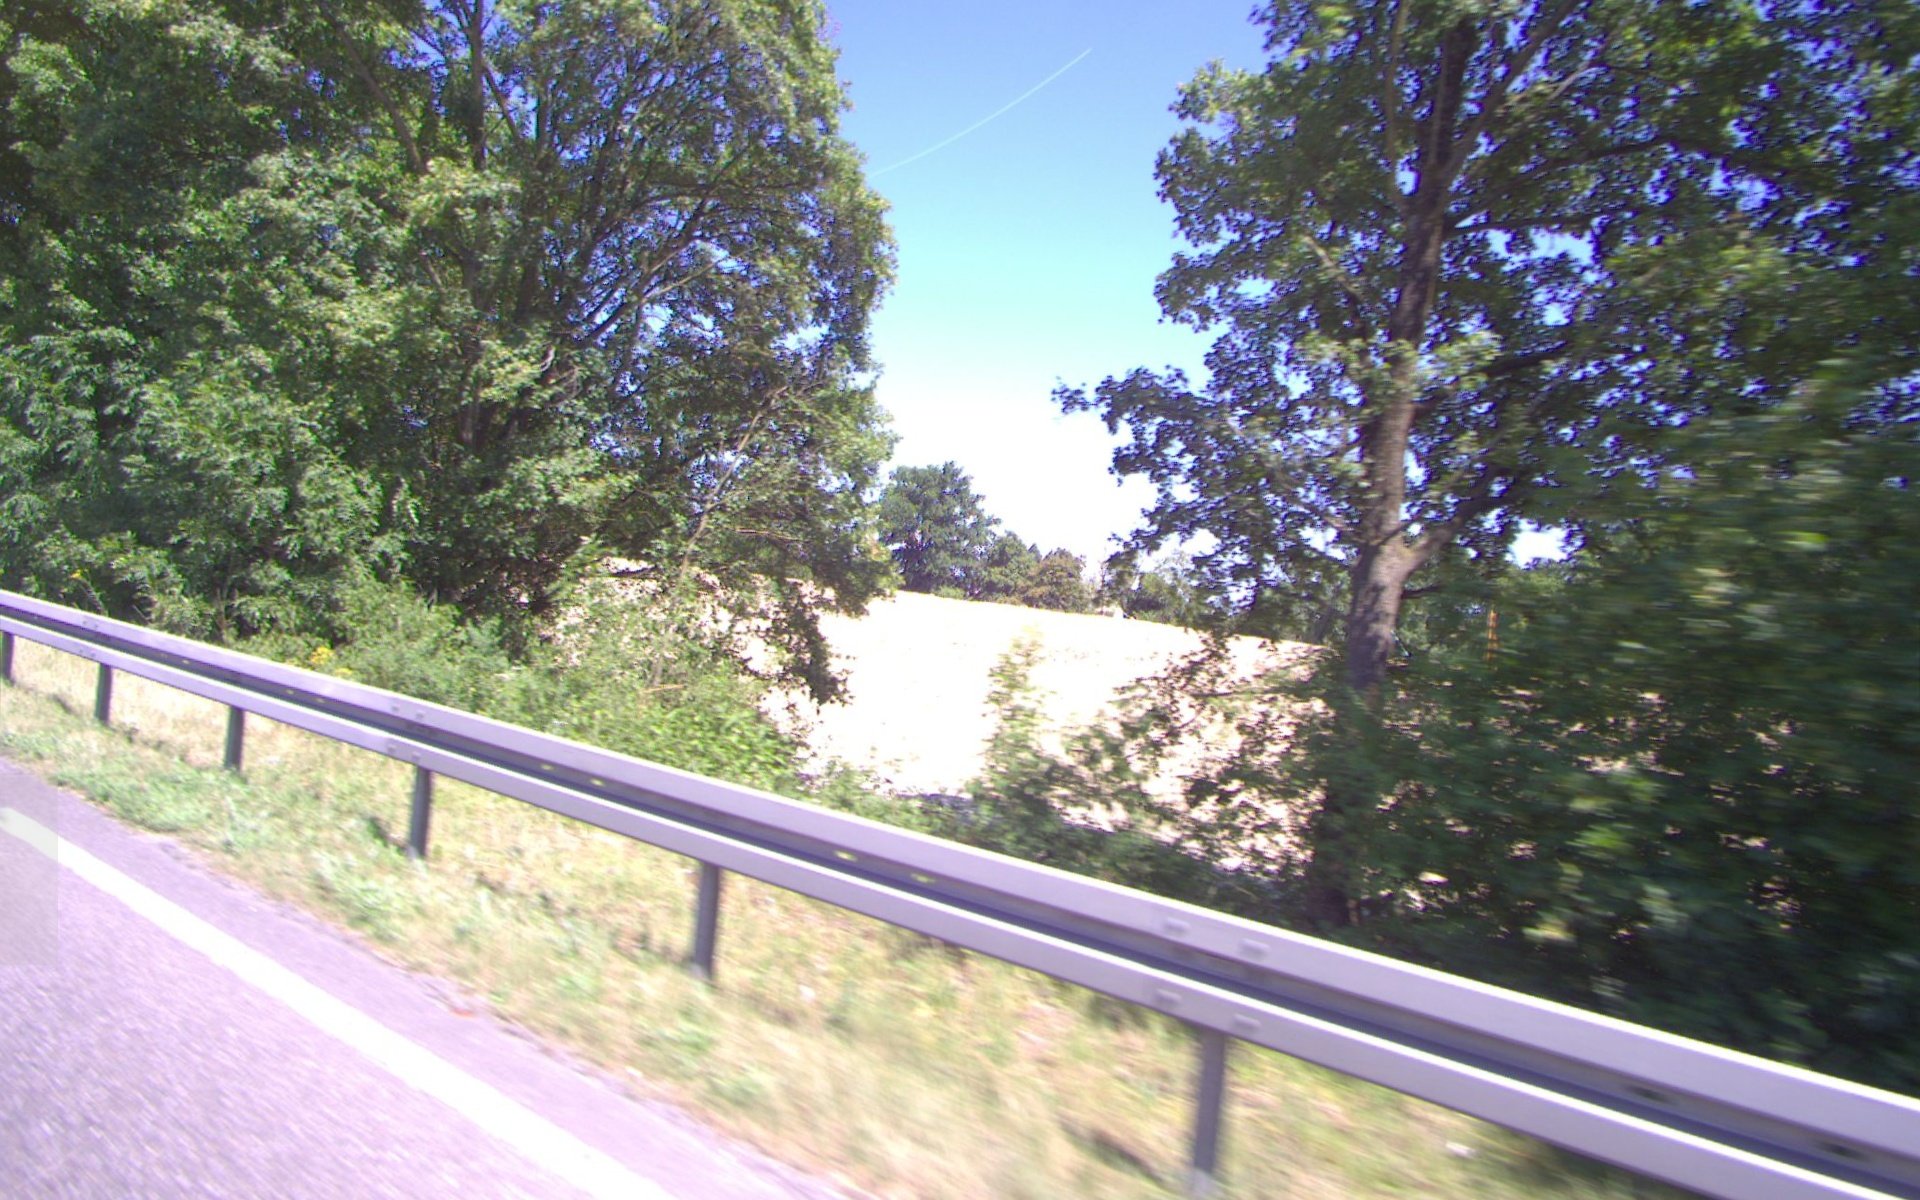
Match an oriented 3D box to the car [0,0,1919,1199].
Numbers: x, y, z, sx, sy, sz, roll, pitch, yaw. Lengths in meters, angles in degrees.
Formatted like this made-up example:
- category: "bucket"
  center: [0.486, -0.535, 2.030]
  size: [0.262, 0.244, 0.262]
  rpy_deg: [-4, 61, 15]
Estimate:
- category: "car"
  center: [-1.005, 0.552, 0.489]
  size: [3.933, 1.691, 1.861]
  rpy_deg: [5, -2, 31]
